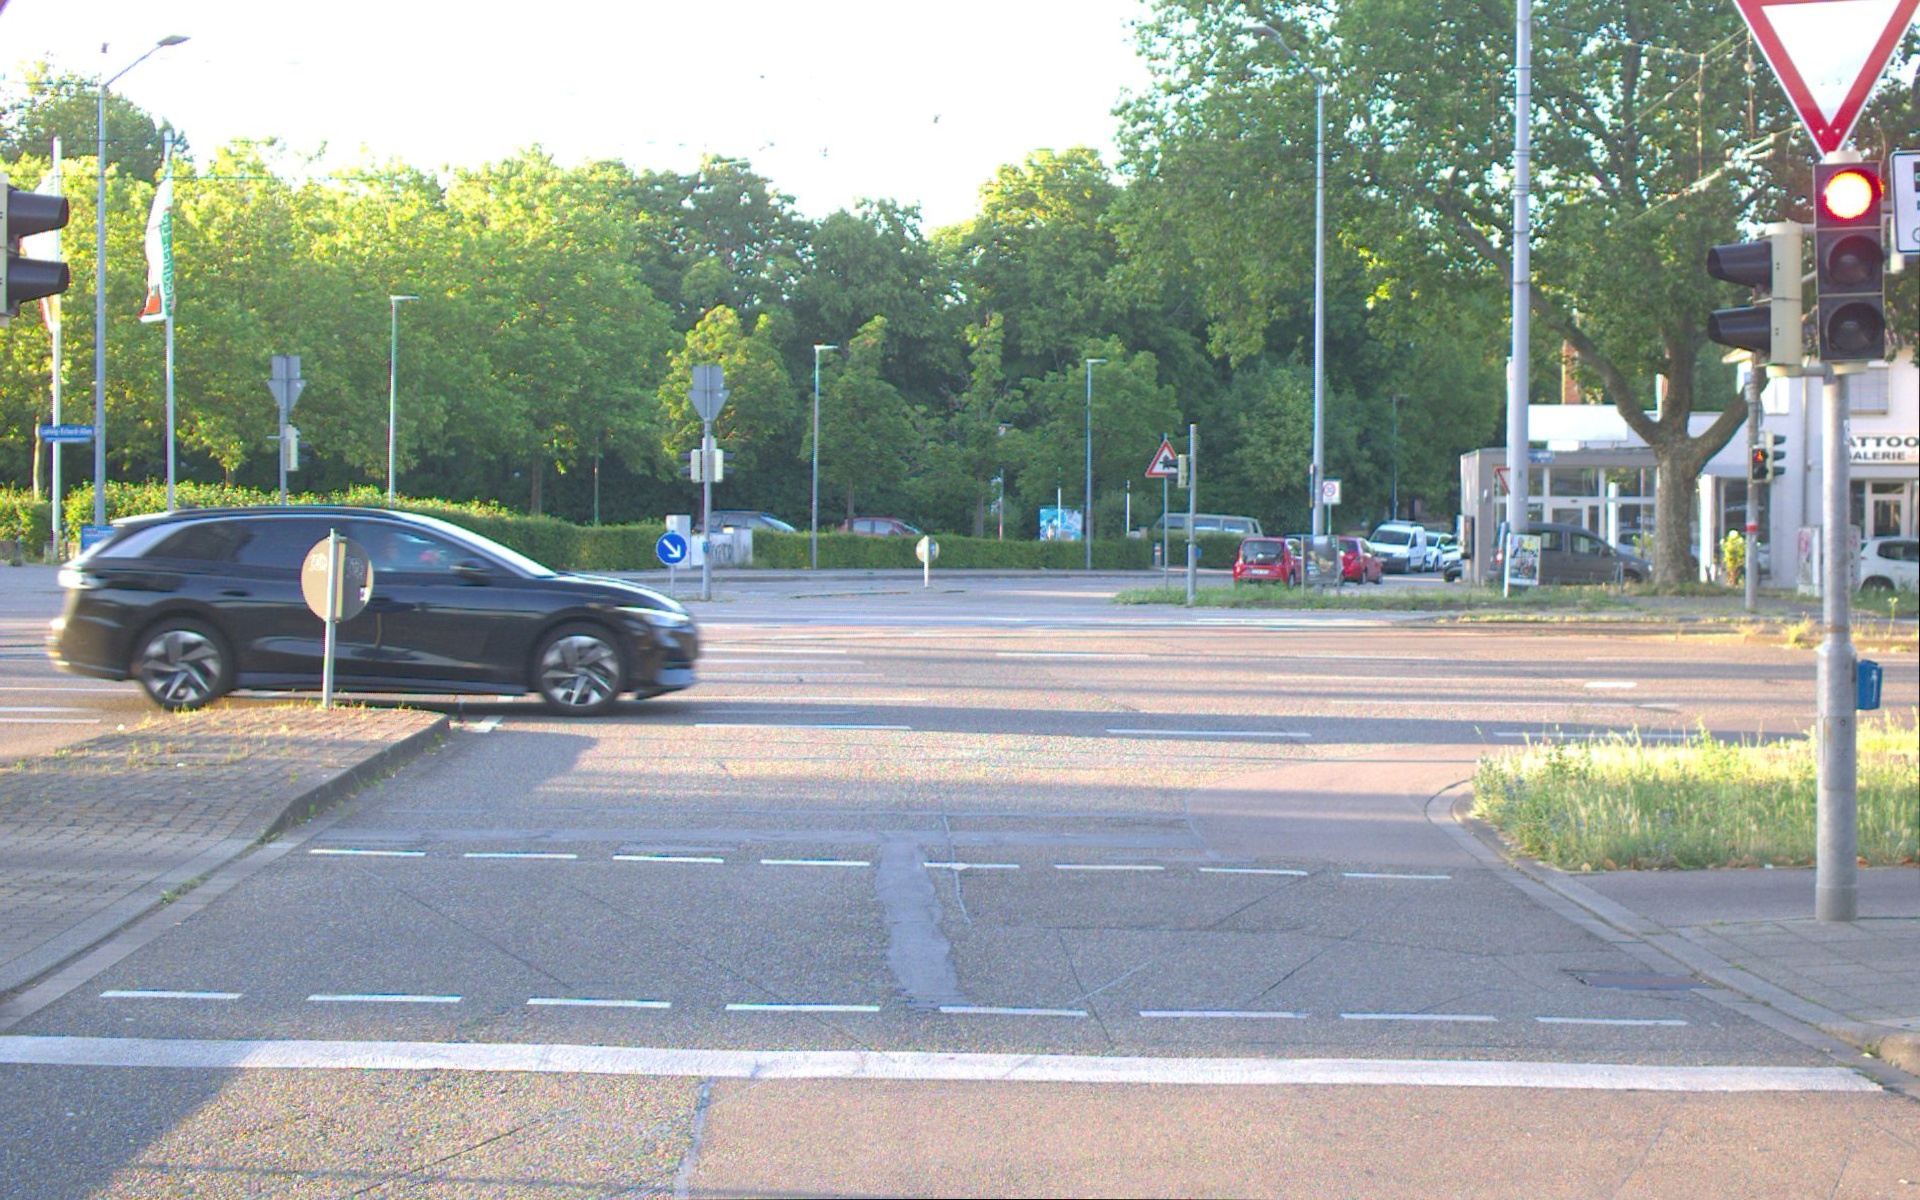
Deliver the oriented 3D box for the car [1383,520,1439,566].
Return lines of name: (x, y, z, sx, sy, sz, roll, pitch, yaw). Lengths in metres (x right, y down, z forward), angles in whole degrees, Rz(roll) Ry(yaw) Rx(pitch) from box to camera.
car: (17.873, -2.249, 136.075, 1.864, 1.788, 3.998, 1, 0, 12)

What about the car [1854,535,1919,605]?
car: (20.785, -0.617, 72.215, 3.741, 1.435, 1.663, 1, 0, 9)

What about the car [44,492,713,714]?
car: (-4.393, 0.002, 26.615, 4.907, 1.609, 2.000, 0, 1, -3)

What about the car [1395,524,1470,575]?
car: (15.913, -1.674, 115.590, 1.995, 1.656, 3.997, 1, 0, 15)

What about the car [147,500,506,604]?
car: (-9.810, -0.733, 53.517, 5.224, 1.547, 2.000, 0, 0, -1)

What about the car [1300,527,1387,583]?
car: (11.547, -1.335, 103.365, 1.995, 1.656, 3.997, 1, 0, 15)

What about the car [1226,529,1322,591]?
car: (8.767, -1.097, 95.679, 1.995, 1.656, 3.997, 1, 0, 15)

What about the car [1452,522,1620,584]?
car: (14.903, -1.213, 89.160, 4.220, 1.547, 1.999, 1, 0, 7)

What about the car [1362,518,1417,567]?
car: (16.418, -2.187, 131.181, 1.864, 1.788, 3.998, 1, 0, 10)

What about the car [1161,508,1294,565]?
car: (9.773, -2.317, 125.866, 4.774, 1.999, 2.000, 0, 0, 2)
